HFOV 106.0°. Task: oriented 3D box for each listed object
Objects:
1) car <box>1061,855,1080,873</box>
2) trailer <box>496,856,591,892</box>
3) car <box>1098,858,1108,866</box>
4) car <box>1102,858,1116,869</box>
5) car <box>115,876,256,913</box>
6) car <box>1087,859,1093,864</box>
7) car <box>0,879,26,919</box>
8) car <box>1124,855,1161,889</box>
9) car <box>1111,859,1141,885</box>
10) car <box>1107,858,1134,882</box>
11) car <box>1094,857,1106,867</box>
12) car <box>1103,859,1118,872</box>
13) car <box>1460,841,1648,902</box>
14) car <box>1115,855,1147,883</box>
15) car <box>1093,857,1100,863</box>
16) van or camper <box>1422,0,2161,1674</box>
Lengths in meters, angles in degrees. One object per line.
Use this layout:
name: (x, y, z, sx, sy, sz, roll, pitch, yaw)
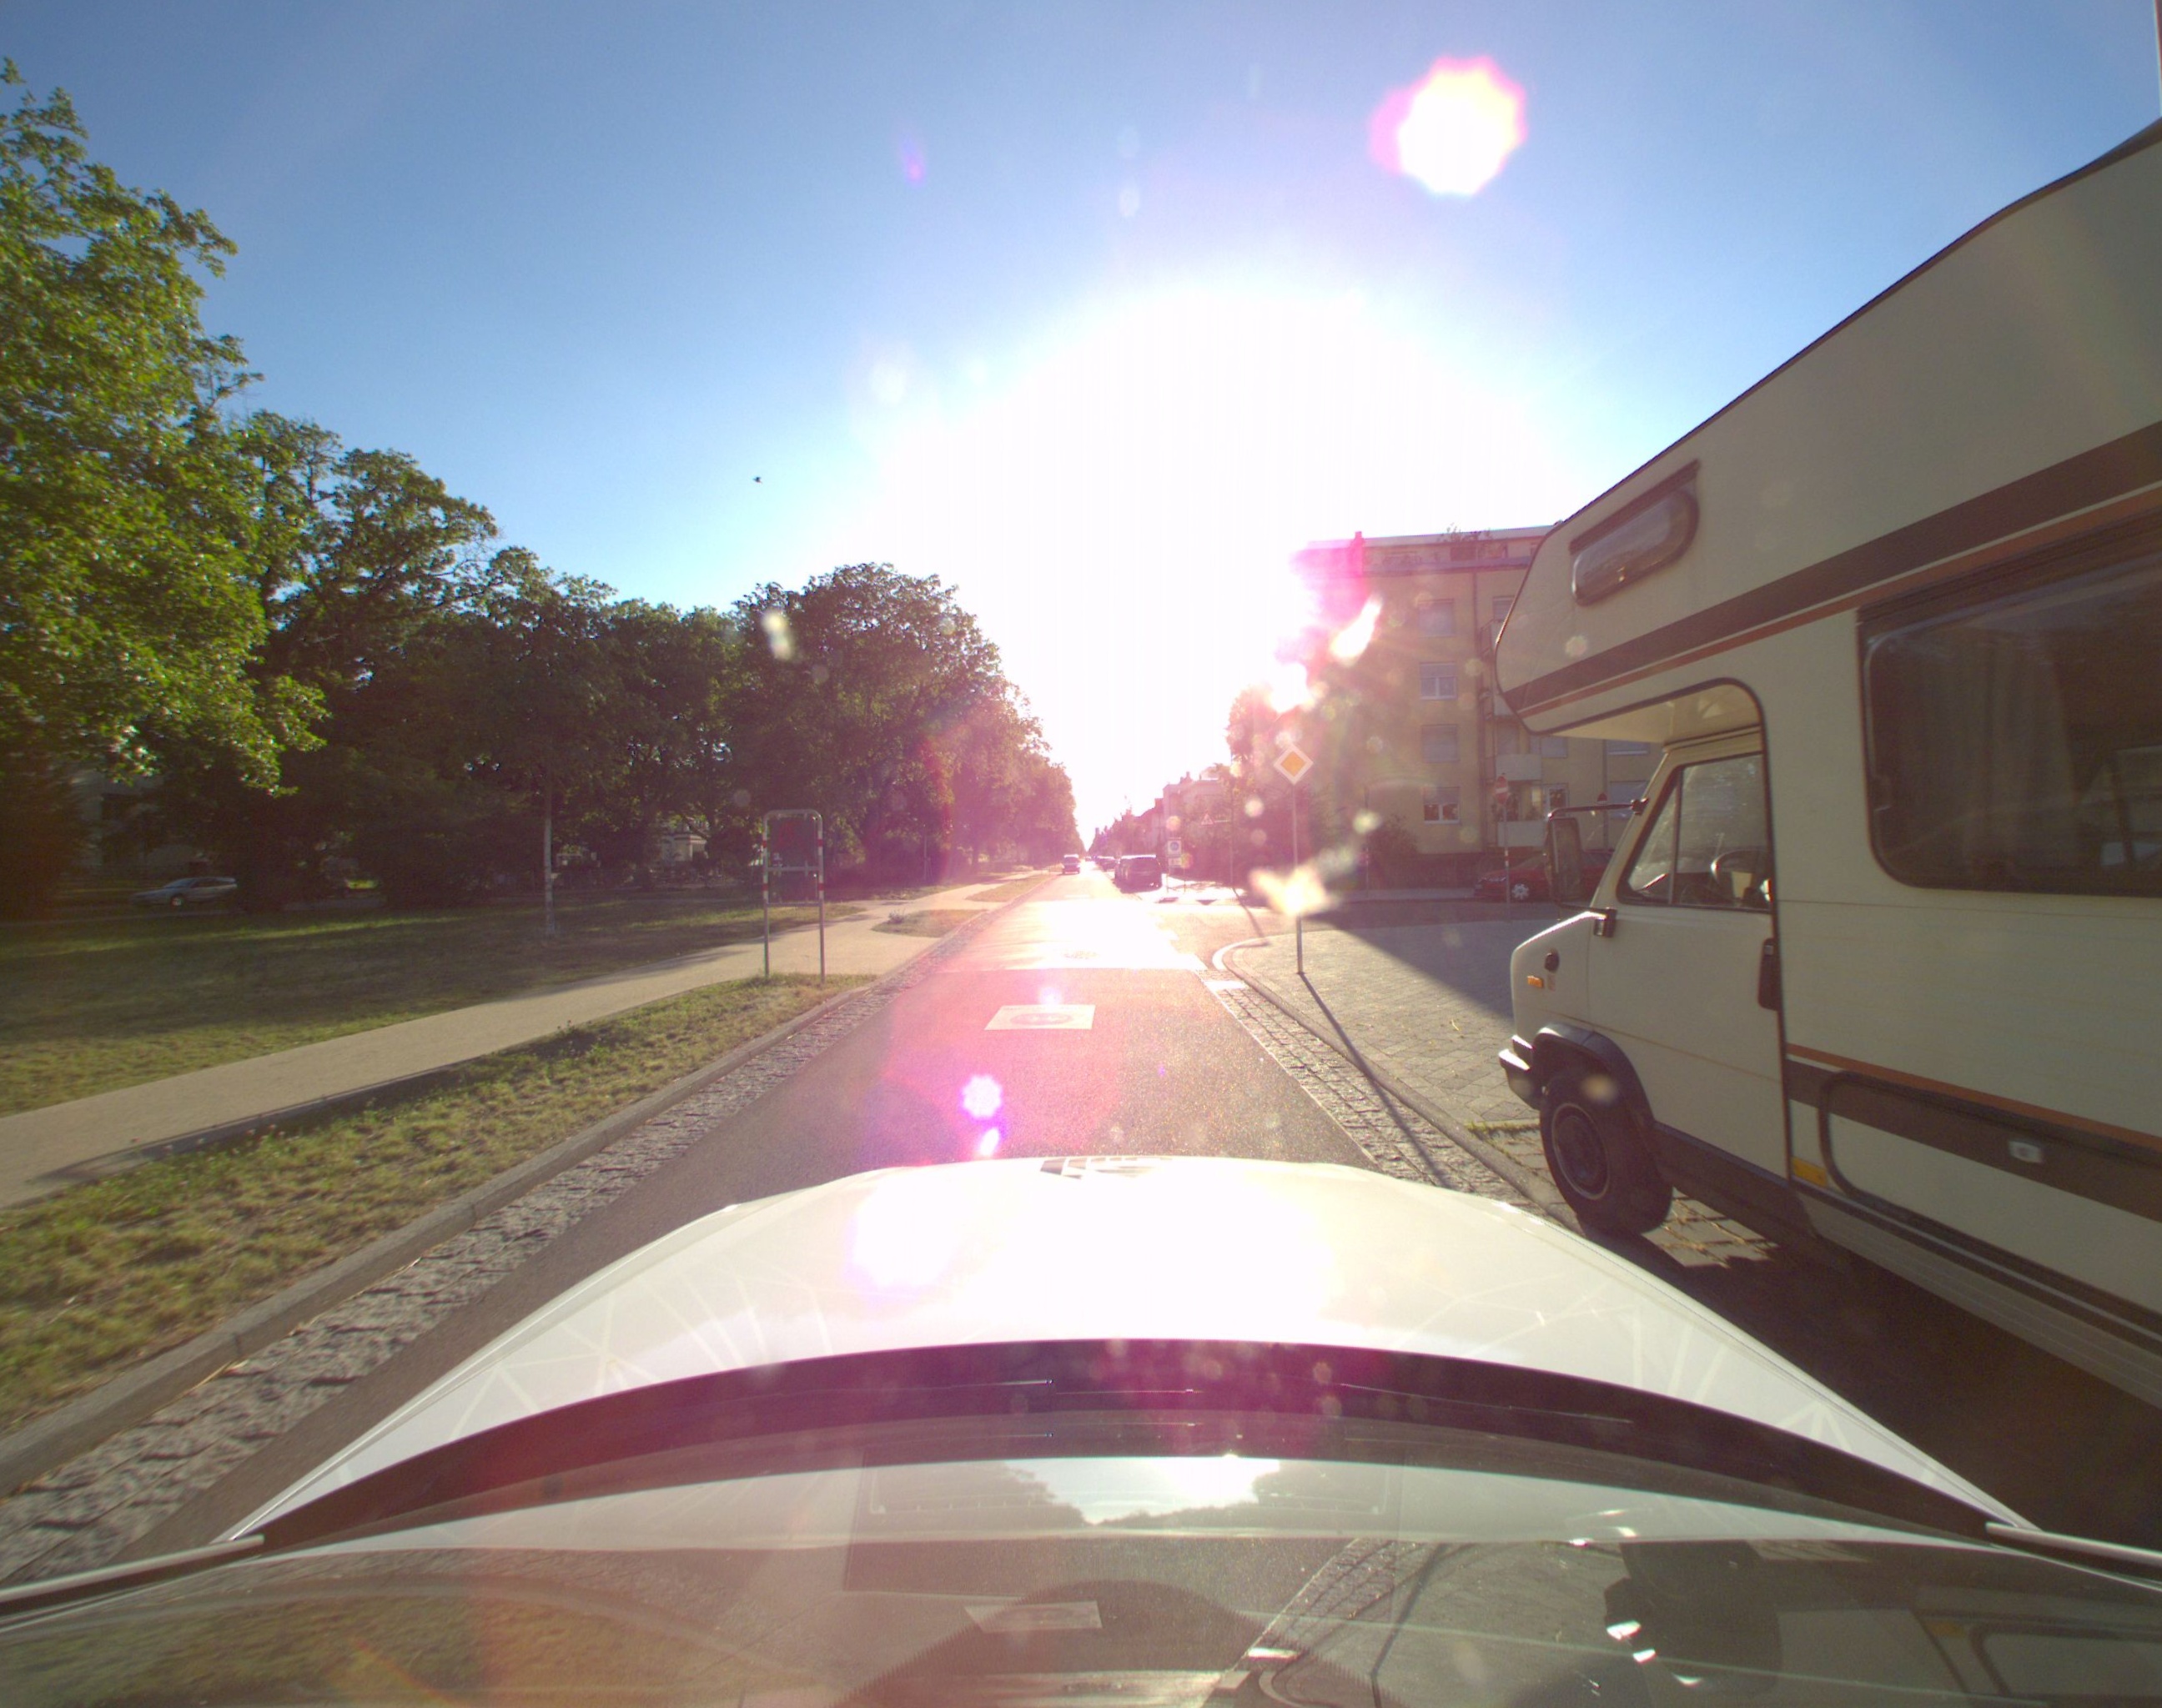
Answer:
car: (-1.037, 0.974, 81.510, 1.820, 1.669, 4.248, -2, -1, 0)
trailer: (-41.224, 1.487, 62.808, 2.450, 2.489, 7.051, -2, -1, 1)
car: (3.856, 1.372, 144.120, 1.621, 1.410, 4.248, -2, -1, 0)
car: (3.670, 1.295, 107.856, 1.621, 1.410, 4.248, -2, -1, 0)
car: (-42.034, 1.859, 38.391, 1.986, 1.508, 4.116, -2, -1, 1)
car: (2.638, 2.212, 240.079, 1.621, 1.669, 4.248, -2, -1, 0)
car: (-41.850, 1.716, 29.440, 1.986, 1.508, 4.116, -2, -1, 1)
car: (3.175, 0.921, 42.741, 1.621, 1.669, 4.248, -2, -1, 0)
car: (3.255, 1.279, 58.665, 1.985, 1.717, 4.003, -2, -1, 3)
car: (3.080, 1.241, 63.390, 1.985, 1.717, 4.003, -2, -1, 3)
car: (2.967, 1.250, 127.711, 1.621, 1.410, 4.248, -2, -1, 0)
car: (3.483, 1.372, 96.425, 1.621, 1.410, 4.248, -2, -1, 0)
car: (13.423, 0.493, 23.330, 4.176, 1.530, 2.002, -2, -1, 4)
car: (3.288, 0.958, 53.818, 1.985, 1.717, 4.003, -2, -1, 3)
car: (3.796, 1.402, 196.227, 1.621, 1.410, 4.248, -2, -1, 0)
van or camper: (2.930, -0.076, 1.405, 2.227, 2.904, 5.671, -2, -2, 0)
